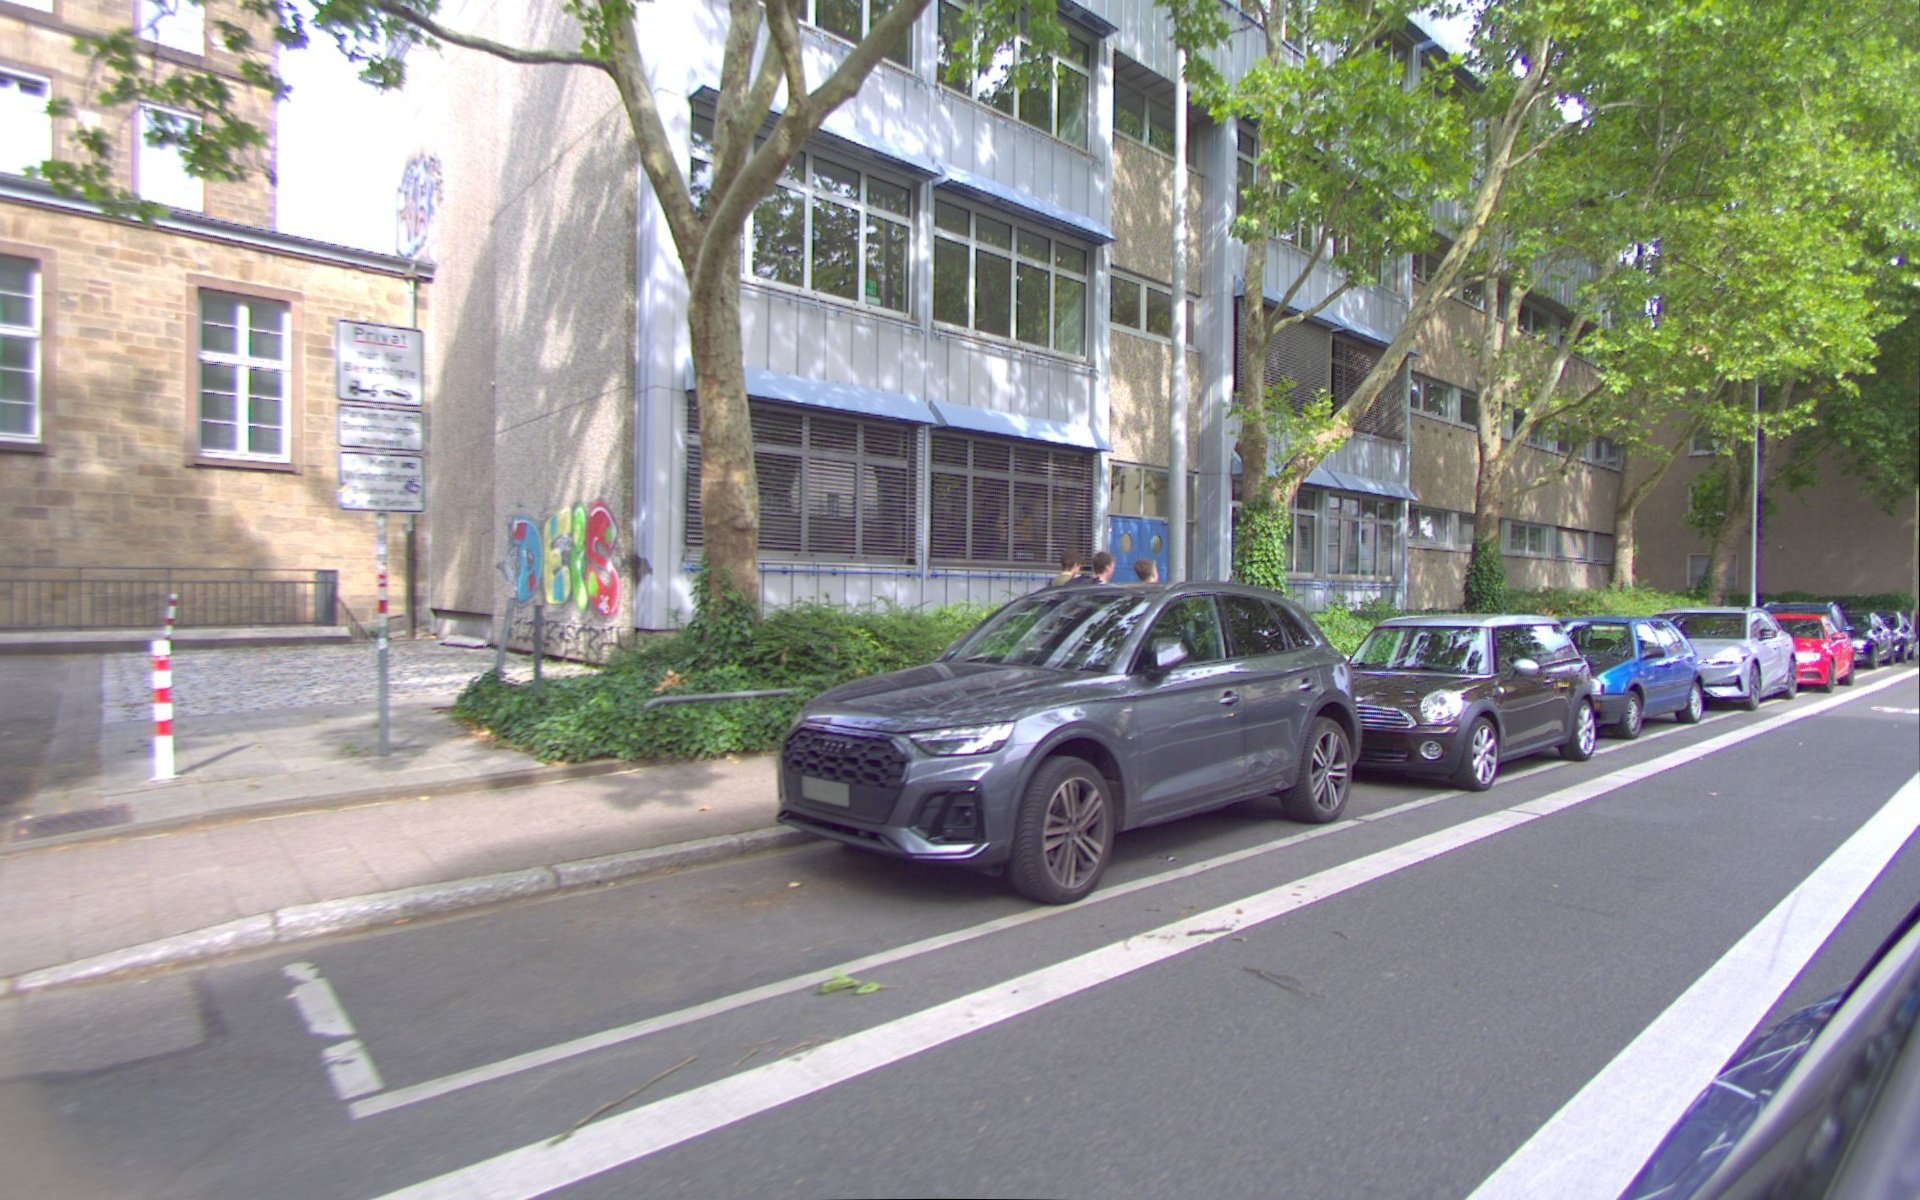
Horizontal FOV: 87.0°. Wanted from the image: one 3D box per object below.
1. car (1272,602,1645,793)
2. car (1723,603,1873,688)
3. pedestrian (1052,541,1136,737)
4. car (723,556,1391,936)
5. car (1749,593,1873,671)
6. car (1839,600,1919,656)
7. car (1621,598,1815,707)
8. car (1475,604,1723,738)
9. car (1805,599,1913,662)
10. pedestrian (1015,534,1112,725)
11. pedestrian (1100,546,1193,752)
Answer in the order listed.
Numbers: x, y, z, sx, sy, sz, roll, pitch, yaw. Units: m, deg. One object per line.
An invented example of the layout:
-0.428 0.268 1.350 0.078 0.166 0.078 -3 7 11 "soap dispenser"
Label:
5.000 0.756 9.835 4.493 1.451 1.642 0 -1 -41 "car"
16.234 0.808 19.541 4.033 1.465 1.601 0 -1 -41 "car"
1.295 0.356 9.785 0.518 1.806 0.502 0 4 -42 "pedestrian"
0.893 0.642 6.614 4.405 1.642 1.923 0 -1 -43 "car"
20.024 0.705 23.764 3.731 1.686 1.650 0 -1 -41 "car"
27.068 0.769 29.521 3.887 1.545 1.601 0 -1 -41 "car"
12.214 0.741 16.202 4.363 1.524 1.601 0 -1 -41 "car"
8.171 0.780 12.821 3.887 1.441 1.601 0 -1 -41 "car"
23.567 0.747 26.491 3.887 1.545 1.601 0 -1 -41 "car"
1.054 0.274 10.393 0.635 1.855 0.643 0 4 -42 "pedestrian"
1.716 0.424 9.348 0.468 1.806 0.592 0 4 -42 "pedestrian"
